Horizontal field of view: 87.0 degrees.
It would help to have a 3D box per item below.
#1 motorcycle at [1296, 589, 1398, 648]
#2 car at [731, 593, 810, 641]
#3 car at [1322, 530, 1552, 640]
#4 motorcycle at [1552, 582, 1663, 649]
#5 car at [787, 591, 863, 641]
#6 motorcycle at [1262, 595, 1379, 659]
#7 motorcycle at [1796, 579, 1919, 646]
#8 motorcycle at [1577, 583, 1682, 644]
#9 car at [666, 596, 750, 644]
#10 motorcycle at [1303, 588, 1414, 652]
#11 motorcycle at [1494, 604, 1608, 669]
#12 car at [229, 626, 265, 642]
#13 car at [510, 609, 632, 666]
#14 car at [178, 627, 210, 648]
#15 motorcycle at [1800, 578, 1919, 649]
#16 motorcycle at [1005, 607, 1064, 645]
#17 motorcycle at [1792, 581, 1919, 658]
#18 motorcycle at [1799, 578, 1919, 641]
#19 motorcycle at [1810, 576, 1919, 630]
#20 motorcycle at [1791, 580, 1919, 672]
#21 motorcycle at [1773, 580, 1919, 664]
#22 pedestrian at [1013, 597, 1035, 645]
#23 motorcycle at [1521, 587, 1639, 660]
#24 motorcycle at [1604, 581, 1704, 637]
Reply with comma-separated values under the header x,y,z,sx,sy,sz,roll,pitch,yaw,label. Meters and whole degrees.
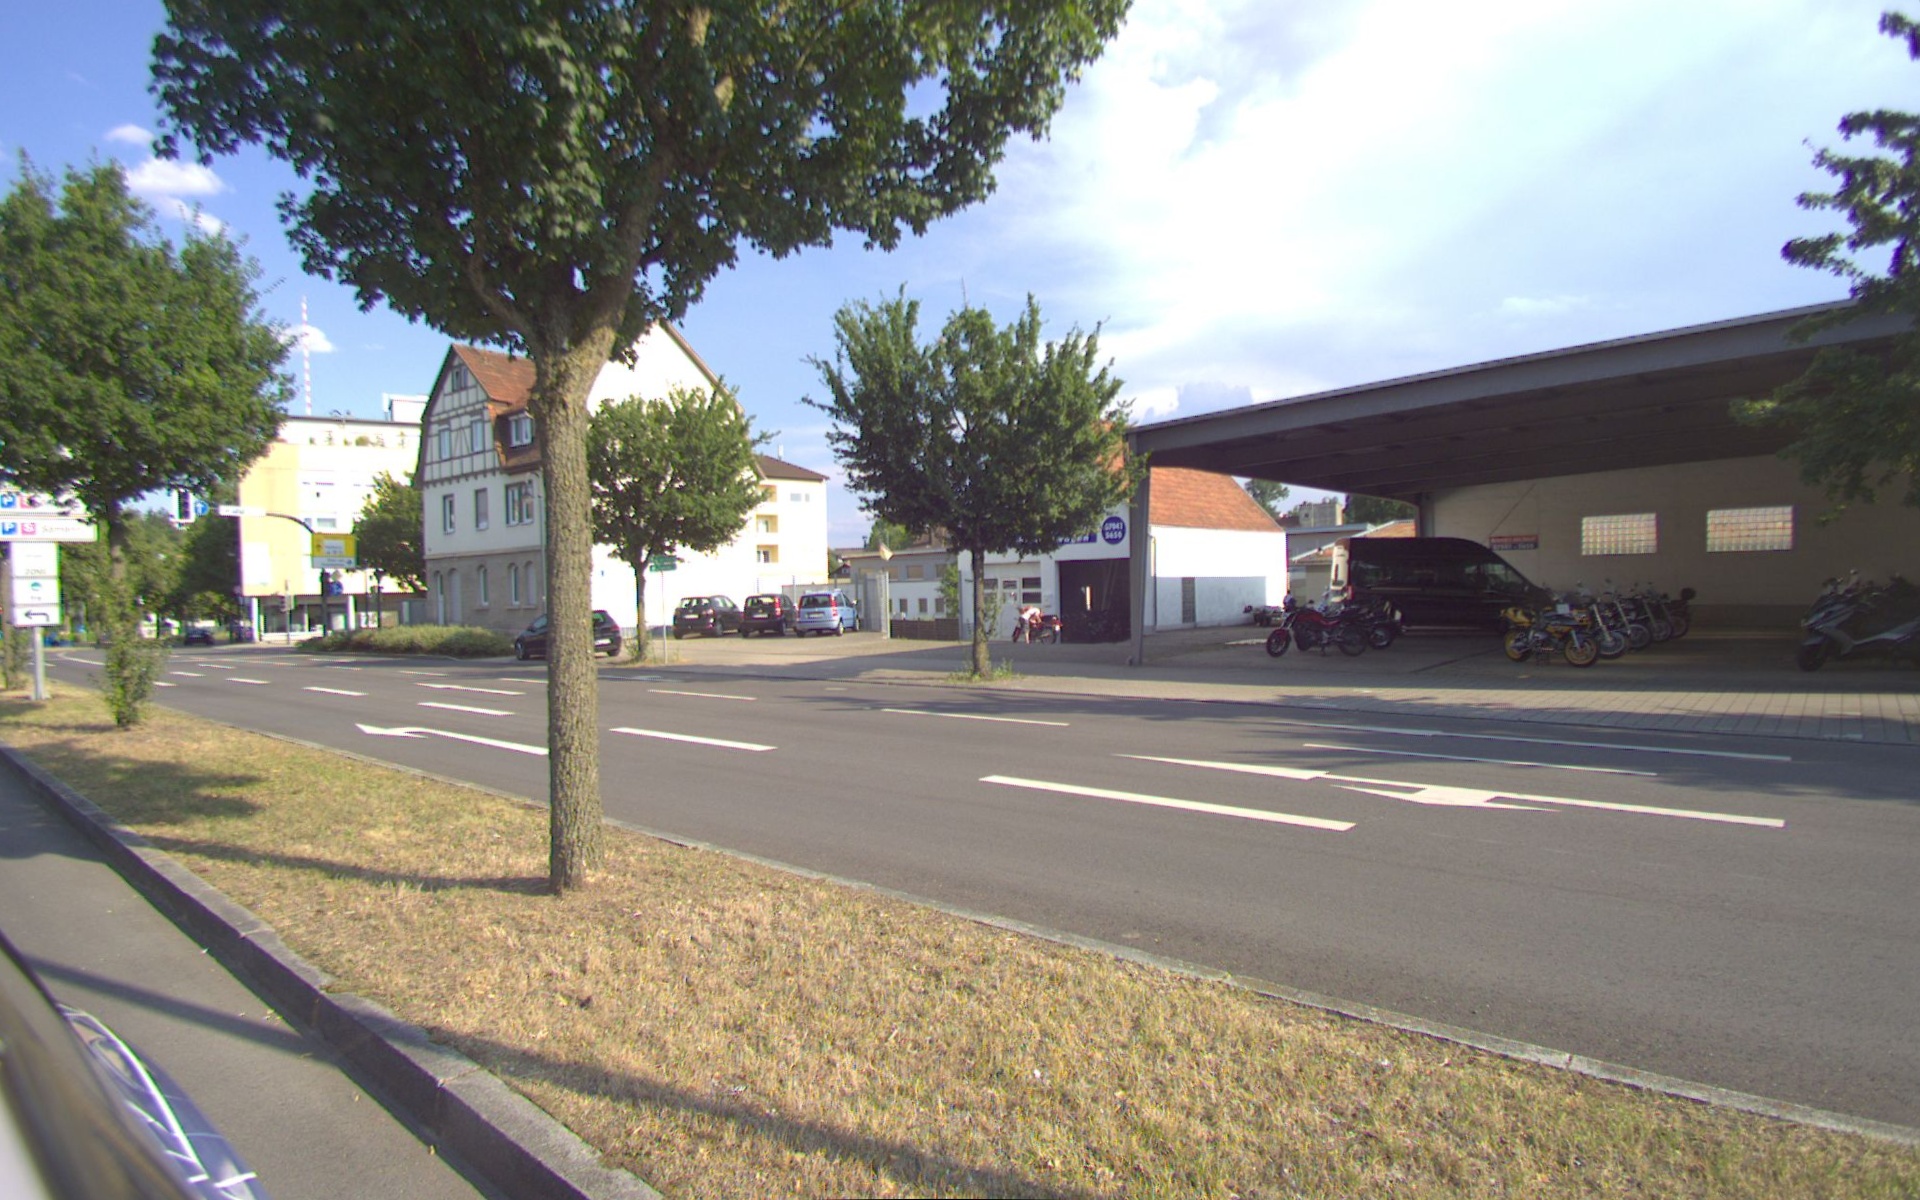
x,y,z,sx,sy,sz,roll,pitch,yaw,label
9.384,0.455,24.607,2.198,1.372,0.630,-1,0,5,motorcycle
-6.916,0.589,37.306,1.797,1.512,3.819,-3,2,5,car
12.871,-0.375,27.628,5.221,2.773,1.996,-1,0,7,car
13.870,0.327,21.769,0.621,1.347,2.269,-1,0,-9,motorcycle
-4.677,0.523,35.677,1.797,1.512,3.819,-3,2,5,car
7.502,0.564,21.160,2.202,1.290,0.629,-1,0,11,motorcycle
19.040,0.259,21.290,2.103,1.306,0.628,-3,-1,17,motorcycle
15.543,0.305,23.579,0.621,1.347,2.269,-1,0,-9,motorcycle
-9.317,0.694,37.698,1.797,1.512,3.819,-3,2,5,car
8.962,0.453,22.804,2.198,1.372,0.630,-1,0,5,motorcycle
10.537,0.621,18.151,0.621,1.095,2.038,-1,0,-8,motorcycle
-81.580,3.837,115.851,1.754,1.706,4.008,-1,0,-9,car
-11.595,1.083,30.075,3.823,1.462,1.795,-1,2,42,car
-66.018,3.222,87.316,1.752,1.706,4.012,-1,0,-31,car
18.051,0.272,19.989,2.103,1.306,0.628,-3,-1,17,motorcycle
2.439,0.842,33.210,1.974,1.194,0.577,-1,0,41,motorcycle
16.537,0.342,18.348,2.103,1.306,0.628,-3,-1,17,motorcycle
20.234,0.210,22.644,2.103,1.306,0.628,-3,-1,17,motorcycle
23.739,0.076,26.522,2.103,1.306,0.628,-3,-1,17,motorcycle
13.867,0.377,15.116,2.103,1.306,0.628,-3,-1,17,motorcycle
14.919,0.364,16.776,2.103,1.306,0.628,-3,-1,17,motorcycle
2.077,0.679,32.764,0.485,1.530,0.496,-1,0,41,pedestrian
12.164,0.440,19.956,0.621,1.347,2.269,-1,0,-9,motorcycle
17.296,0.223,25.303,0.621,1.347,2.269,-1,0,-9,motorcycle
